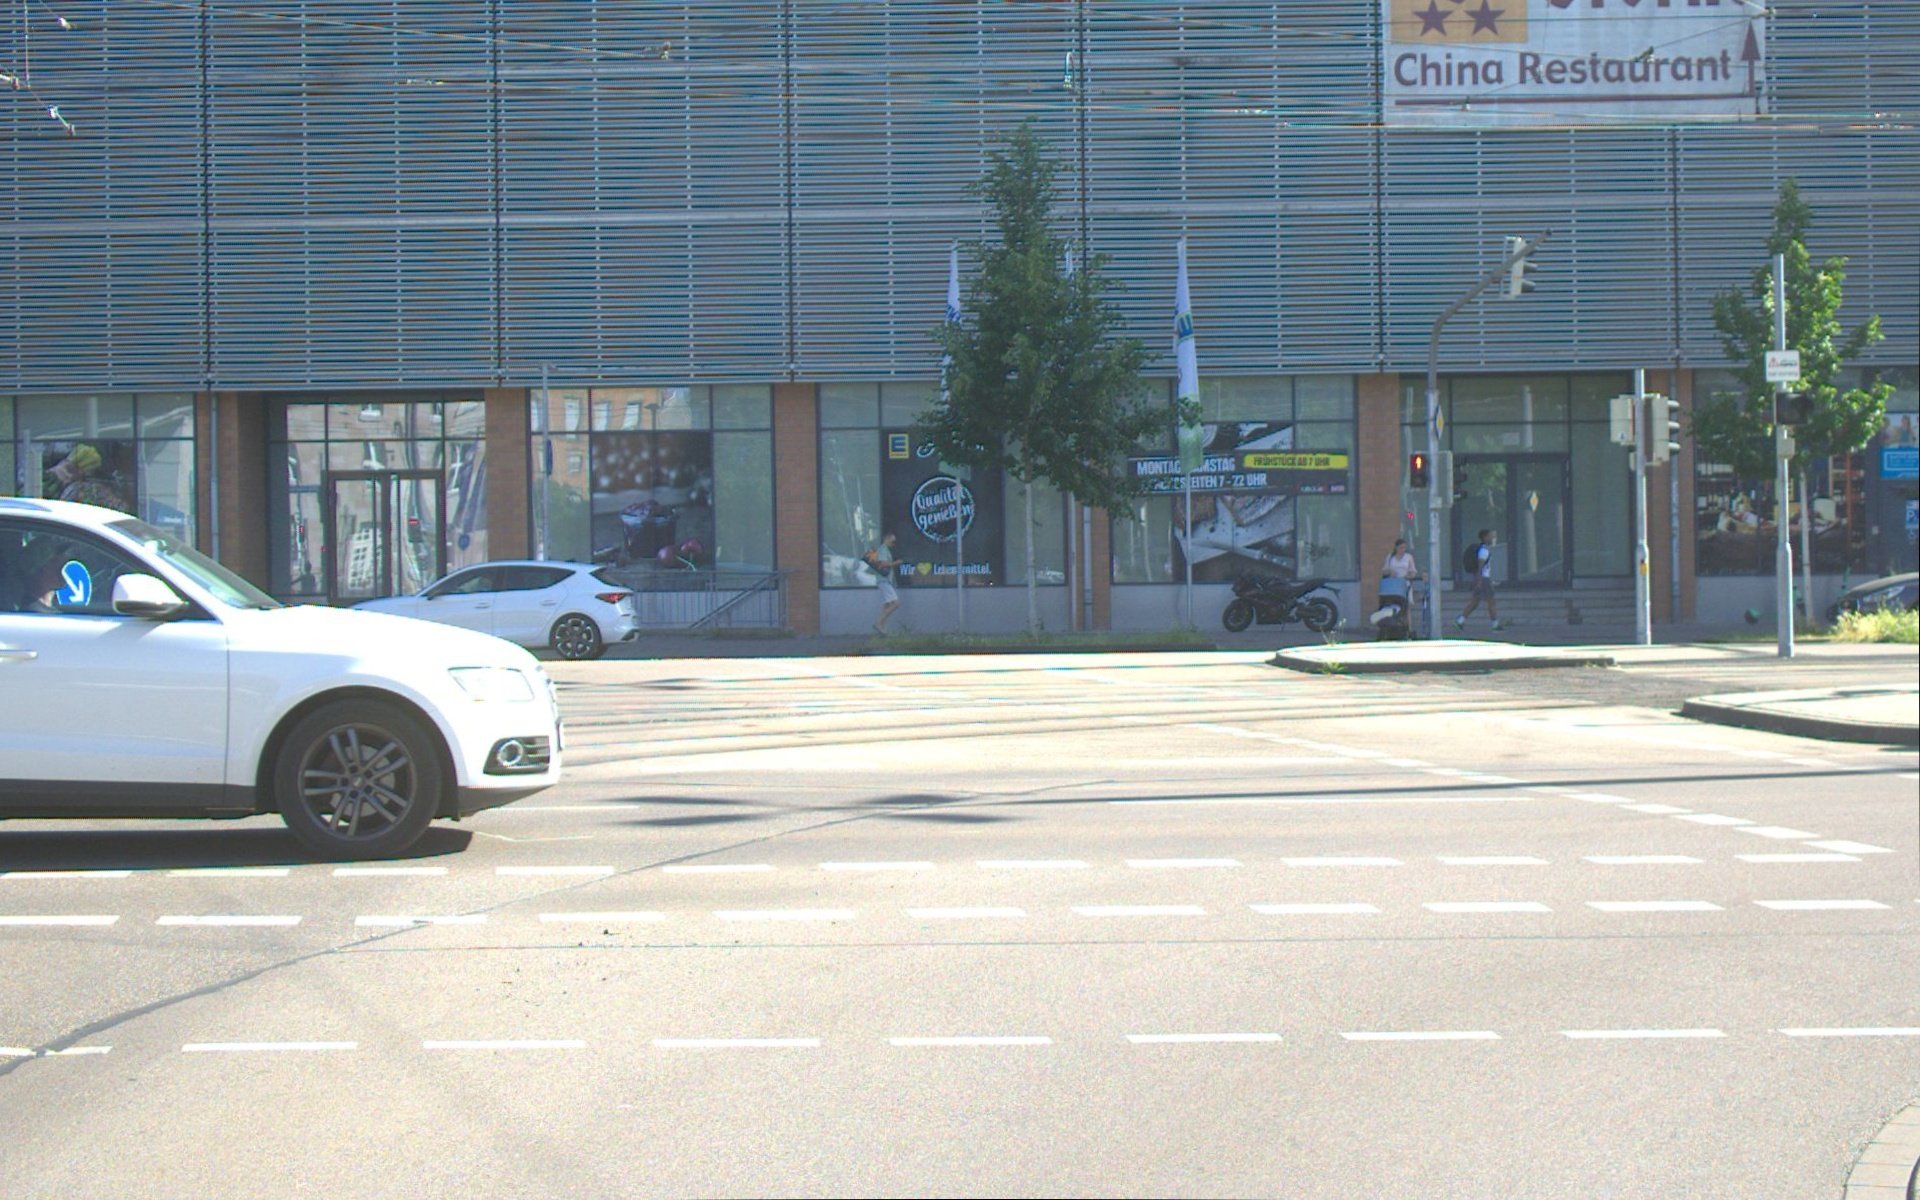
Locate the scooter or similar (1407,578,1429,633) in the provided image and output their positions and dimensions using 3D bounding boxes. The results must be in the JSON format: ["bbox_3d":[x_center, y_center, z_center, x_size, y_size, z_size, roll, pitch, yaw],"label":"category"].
[{"bbox_3d":[7.347,0.081,55.090,0.295,0.870,1.003,1,0,10],"label":"scooter or similar"}]

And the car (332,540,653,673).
[{"bbox_3d":[-6.637,0.095,49.132,4.289,1.639,1.841,3,0,-1],"label":"car"}]

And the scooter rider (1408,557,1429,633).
[{"bbox_3d":[7.340,-0.081,55.028,0.288,1.196,0.385,1,0,10],"label":"scooter rider"}]

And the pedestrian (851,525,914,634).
[{"bbox_3d":[-1.343,-0.342,59.731,0.950,1.822,0.845,-2,-3,5],"label":"pedestrian"}]

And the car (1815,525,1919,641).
[{"bbox_3d":[13.750,-0.138,45.846,4.146,1.464,1.841,3,0,-1],"label":"car"}]

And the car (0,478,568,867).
[{"bbox_3d":[-4.192,0.298,16.002,4.667,1.701,1.938,0,1,-5],"label":"car"}]

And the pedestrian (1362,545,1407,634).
[{"bbox_3d":[6.827,-0.171,55.268,0.655,1.409,0.849,1,0,10],"label":"pedestrian"}]

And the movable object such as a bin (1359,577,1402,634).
[{"bbox_3d":[6.708,0.085,54.807,0.613,0.901,0.968,1,0,10],"label":"movable object such as a bin"}]

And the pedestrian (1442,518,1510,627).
[{"bbox_3d":[8.896,-0.486,59.284,1.012,1.822,1.035,-2,1,3],"label":"pedestrian"}]

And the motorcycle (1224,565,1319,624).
[{"bbox_3d":[5.490,-0.095,60.634,1.640,1.001,0.446,1,1,6],"label":"motorcycle"}]
